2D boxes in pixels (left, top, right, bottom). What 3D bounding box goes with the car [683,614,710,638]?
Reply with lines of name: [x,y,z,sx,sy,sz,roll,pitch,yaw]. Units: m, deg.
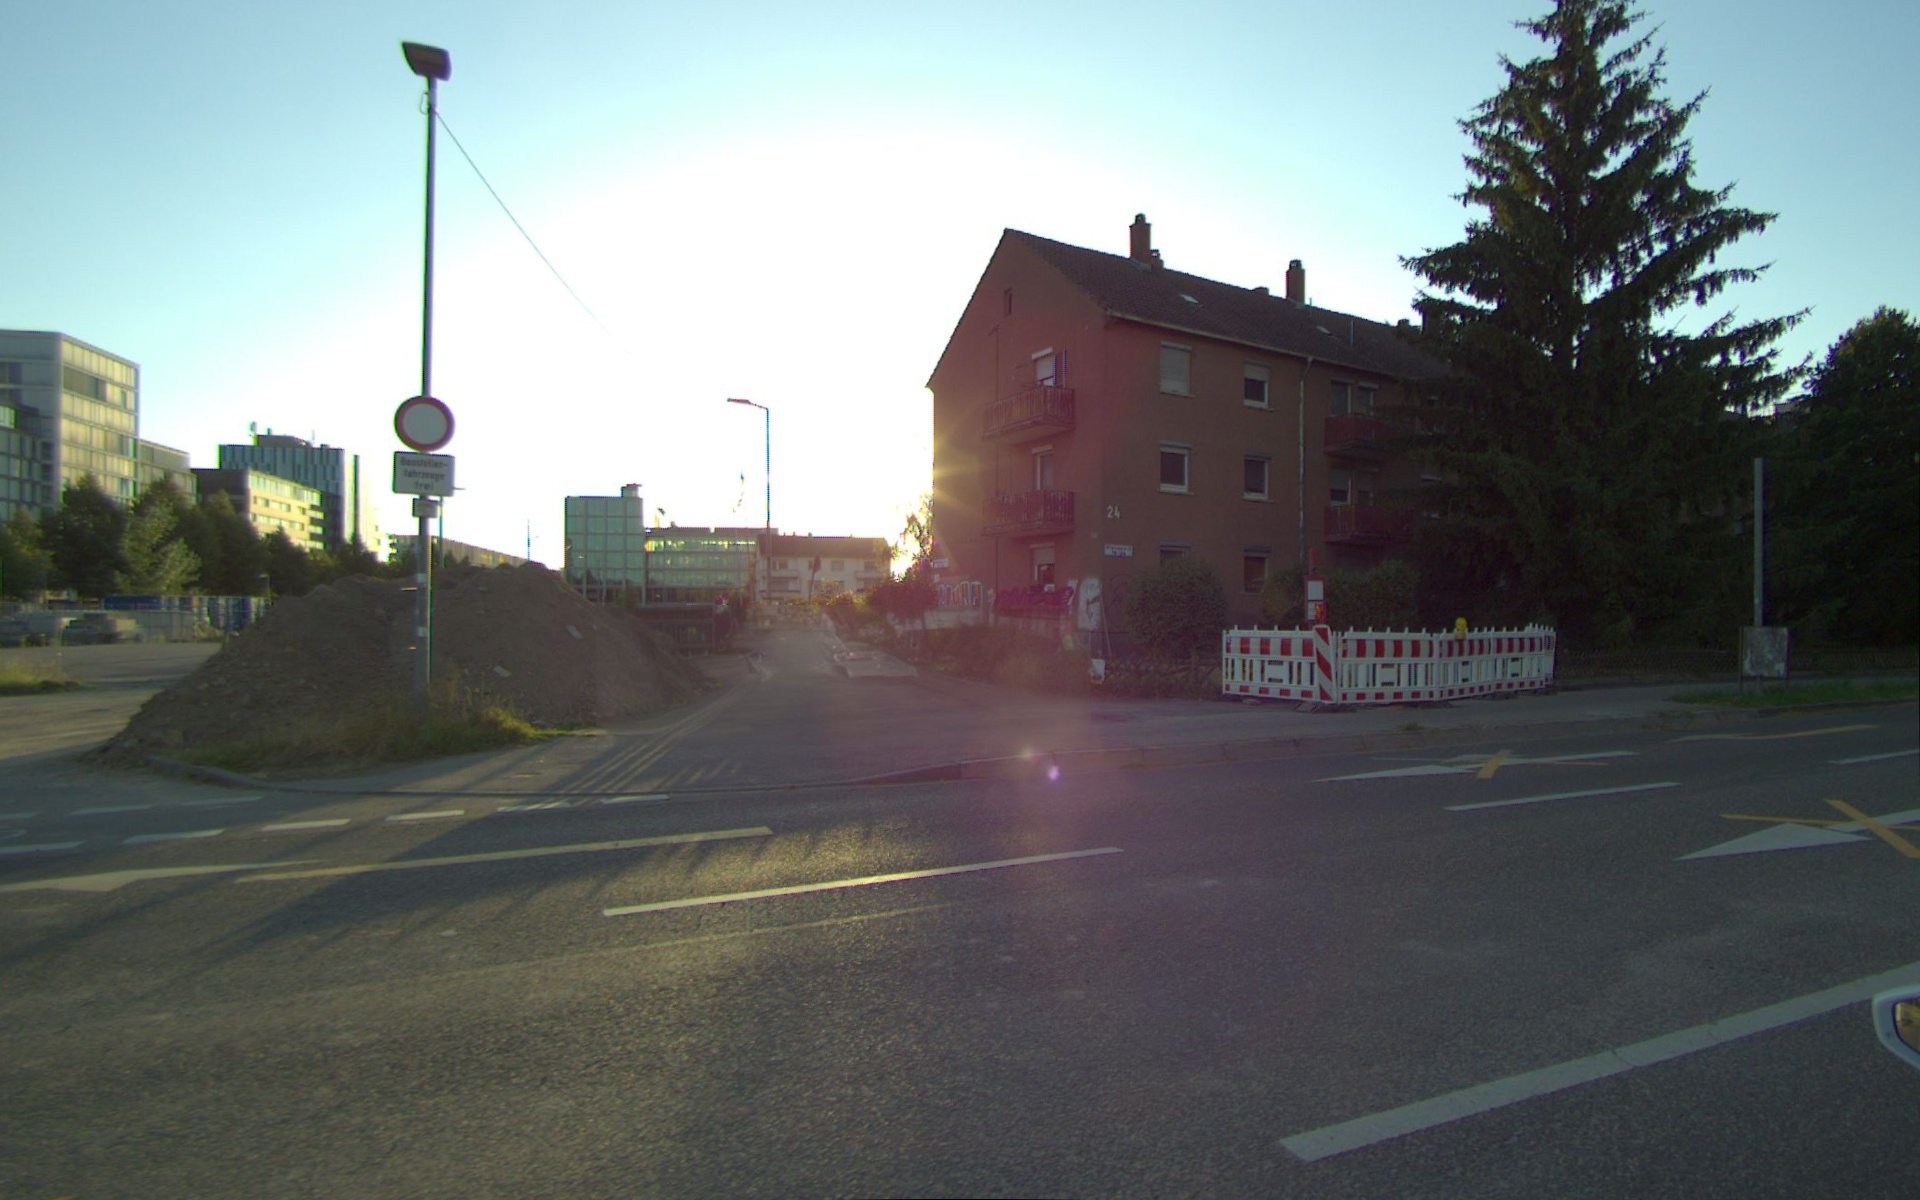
car: [-19.101,1.852,72.771,1.821,1.673,3.988,0,-1,-15]
